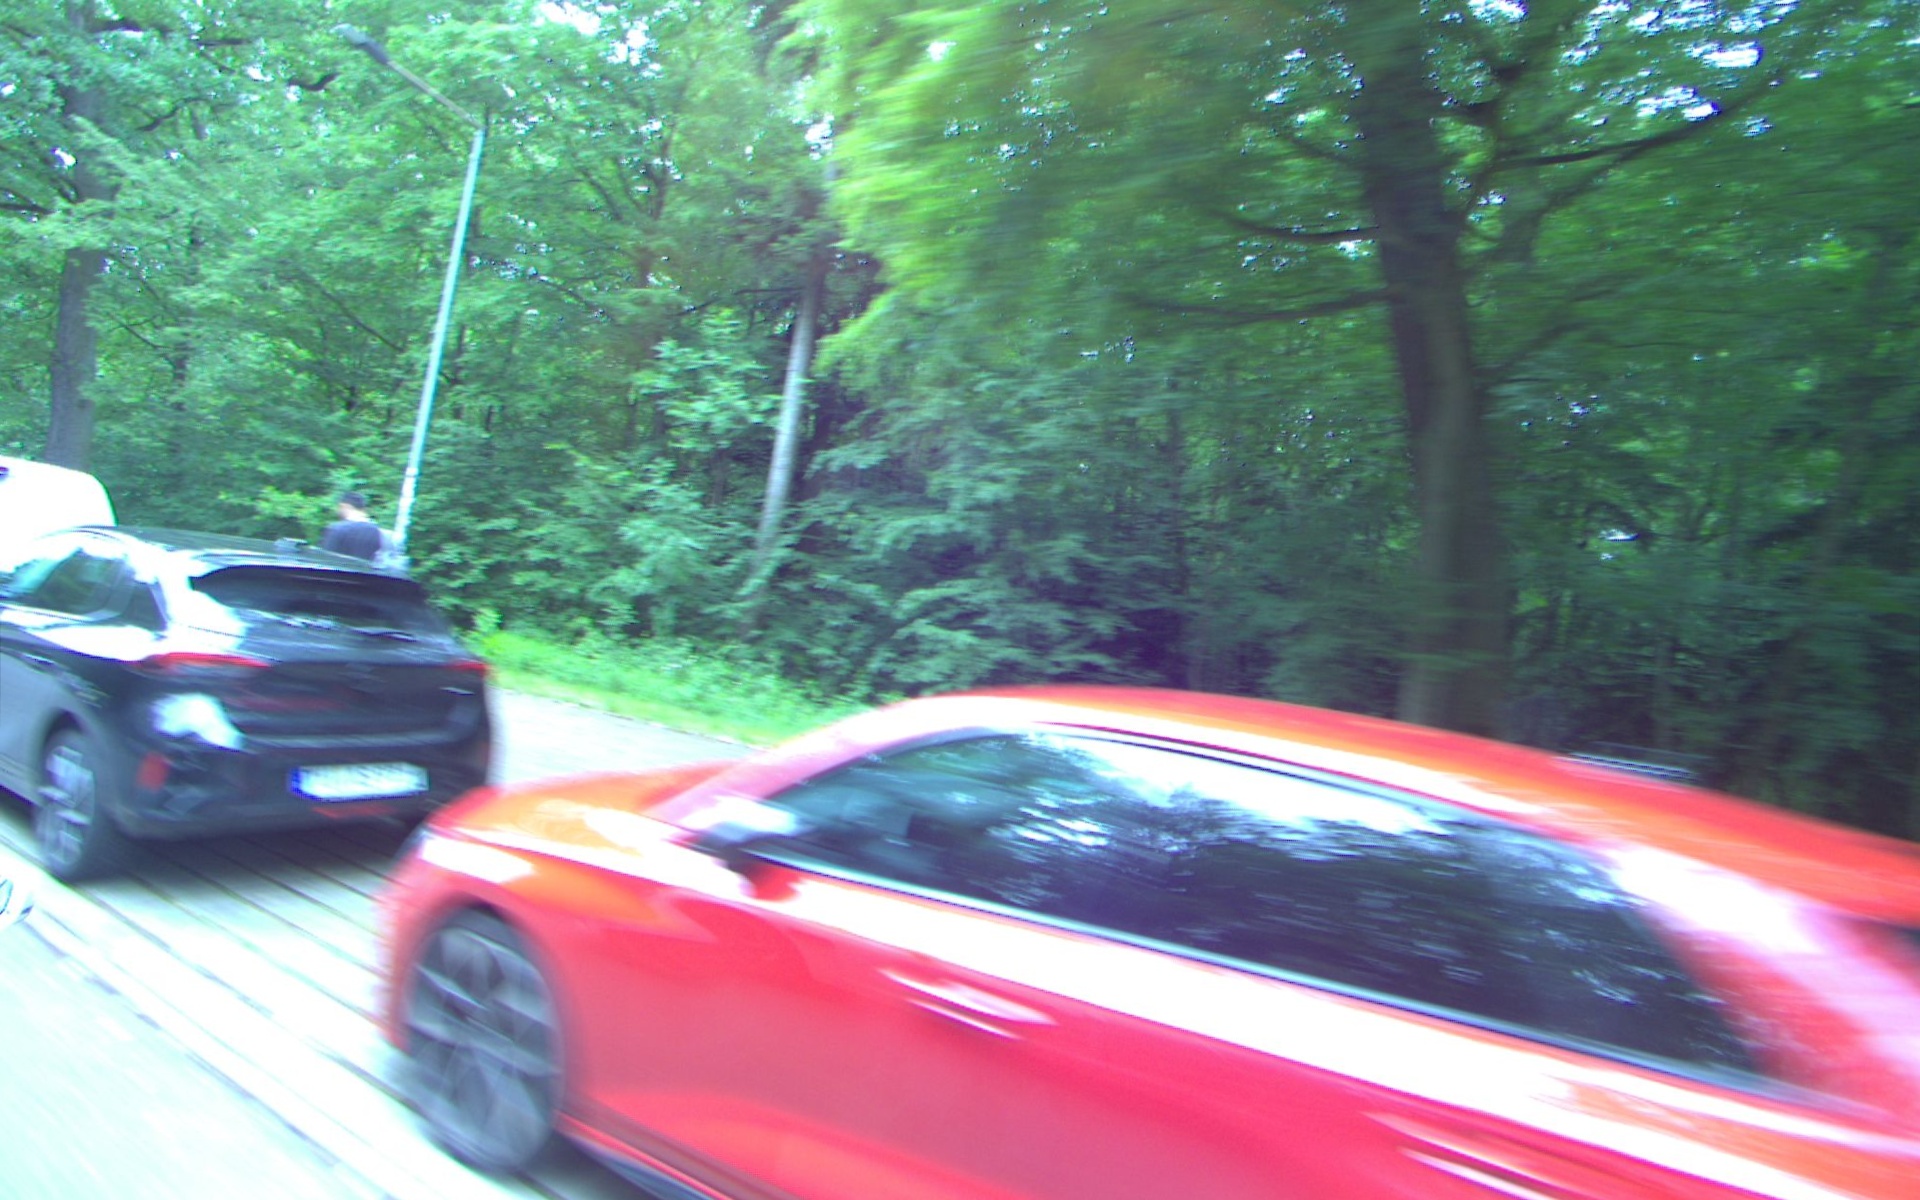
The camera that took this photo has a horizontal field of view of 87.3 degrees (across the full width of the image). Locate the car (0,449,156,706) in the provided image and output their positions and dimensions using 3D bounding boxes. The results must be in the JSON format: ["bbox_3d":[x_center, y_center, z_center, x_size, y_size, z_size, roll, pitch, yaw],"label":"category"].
[{"bbox_3d":[-8.738,-0.407,8.139,4.473,1.801,1.749,7,-2,29],"label":"car"}]

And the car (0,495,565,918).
[{"bbox_3d":[-4.313,0.288,5.426,4.212,1.439,1.729,7,-2,31],"label":"car"}]

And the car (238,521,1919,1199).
[{"bbox_3d":[0.464,0.862,2.675,4.888,1.496,1.998,7,-2,31],"label":"car"}]

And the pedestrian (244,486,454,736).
[{"bbox_3d":[-4.705,0.091,7.762,0.987,1.745,0.819,7,-1,31],"label":"pedestrian"}]
